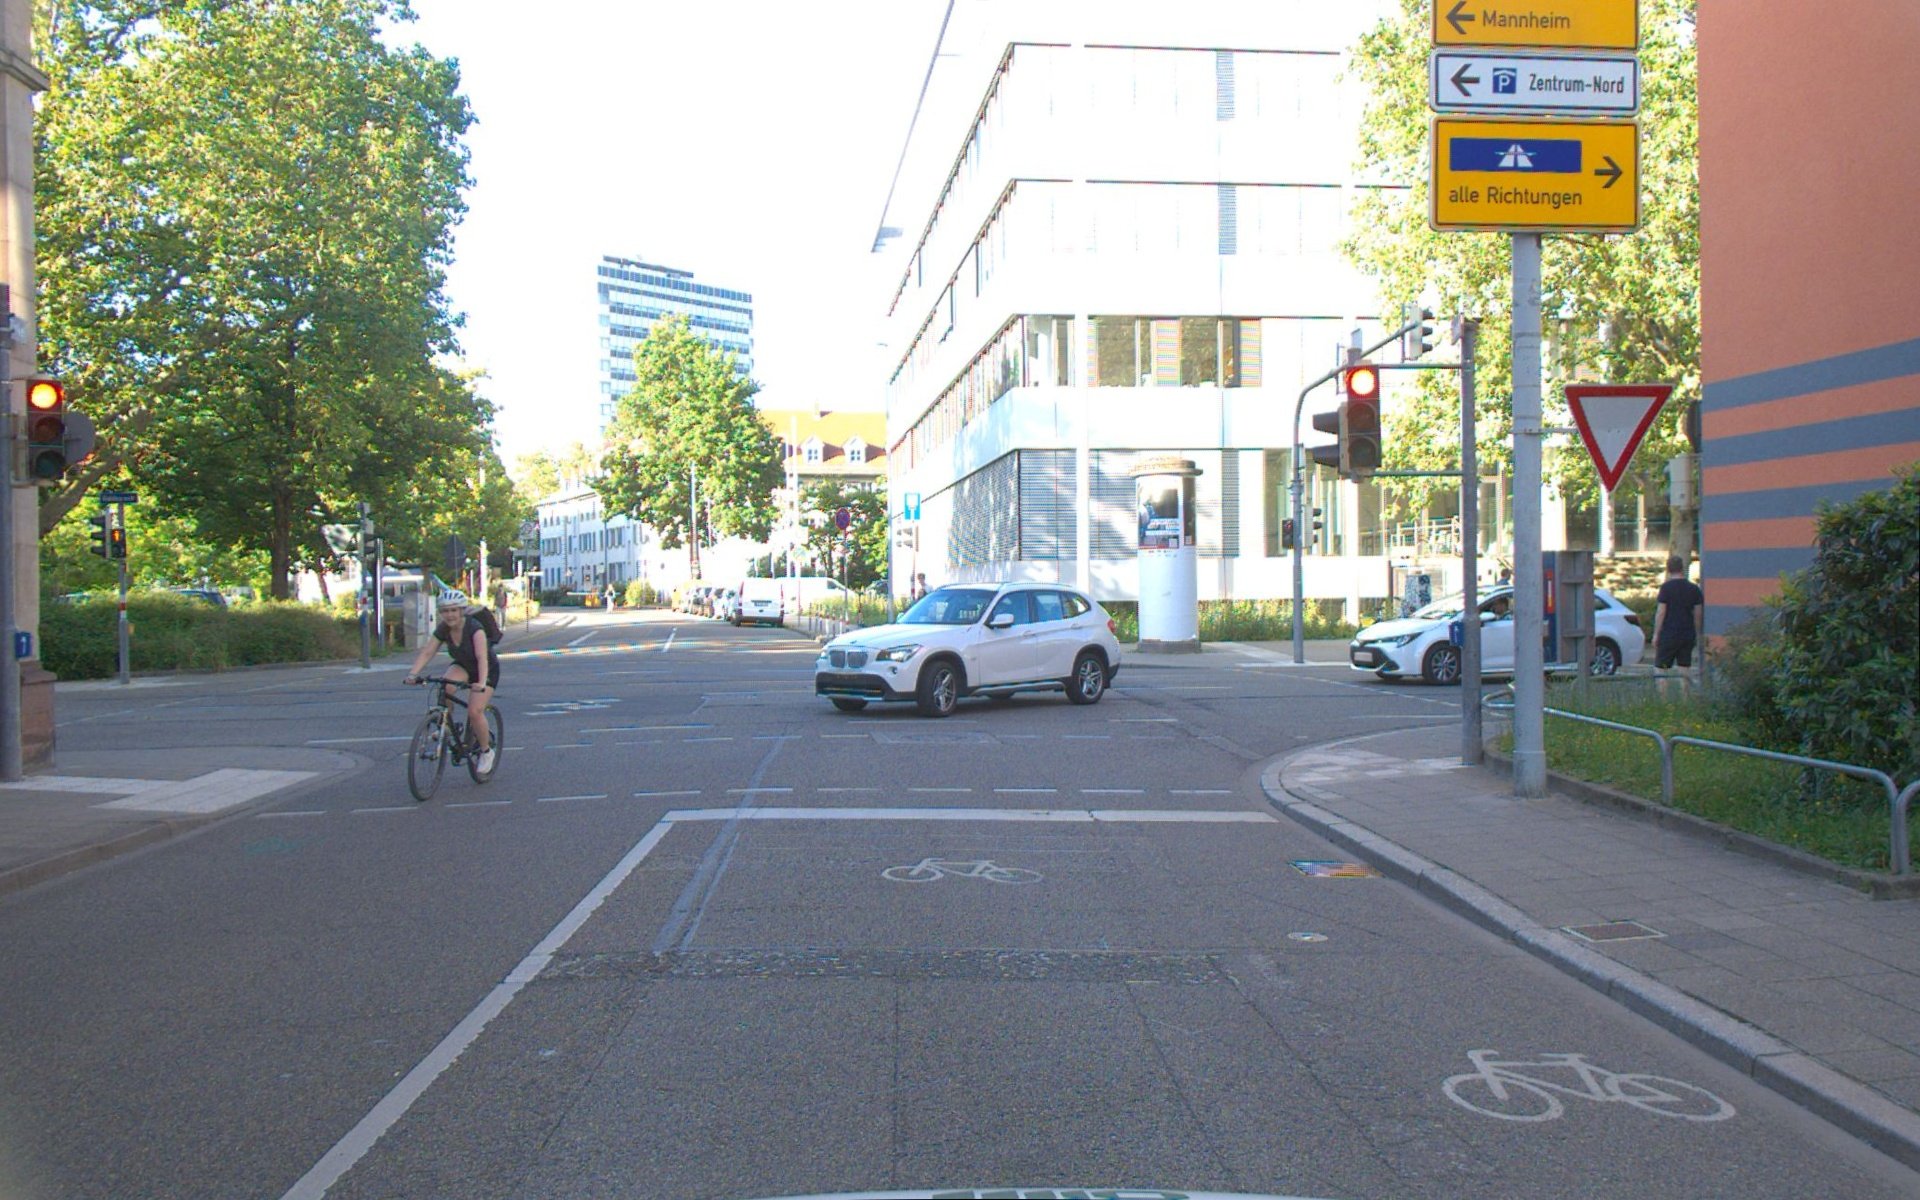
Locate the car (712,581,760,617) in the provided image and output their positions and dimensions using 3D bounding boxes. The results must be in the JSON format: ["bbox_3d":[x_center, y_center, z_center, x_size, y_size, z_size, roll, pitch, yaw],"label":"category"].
[{"bbox_3d":[-10.610,-0.079,78.153,1.856,1.582,4.400,0,1,-14],"label":"car"}]

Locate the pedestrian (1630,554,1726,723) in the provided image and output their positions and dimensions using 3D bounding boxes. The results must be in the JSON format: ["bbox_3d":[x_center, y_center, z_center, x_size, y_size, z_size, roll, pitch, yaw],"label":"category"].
[{"bbox_3d":[8.165,0.427,18.826,0.692,1.872,0.837,1,0,-1],"label":"pedestrian"}]

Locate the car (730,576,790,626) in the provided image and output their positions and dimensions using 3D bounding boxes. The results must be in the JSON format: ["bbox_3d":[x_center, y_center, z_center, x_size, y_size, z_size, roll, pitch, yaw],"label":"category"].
[{"bbox_3d":[-7.830,0.010,64.507,2.047,1.827,4.404,0,1,-10],"label":"car"}]

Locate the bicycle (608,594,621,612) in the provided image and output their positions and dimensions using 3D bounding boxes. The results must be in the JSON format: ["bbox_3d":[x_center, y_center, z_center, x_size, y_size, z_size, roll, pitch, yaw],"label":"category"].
[{"bbox_3d":[-19.422,0.179,93.031,0.604,0.986,1.837,-1,1,-9],"label":"bicycle"}]

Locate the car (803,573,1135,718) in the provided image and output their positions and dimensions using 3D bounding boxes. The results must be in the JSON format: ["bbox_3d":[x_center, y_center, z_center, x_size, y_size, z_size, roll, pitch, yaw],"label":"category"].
[{"bbox_3d":[0.200,0.486,20.608,1.663,1.610,4.244,0,1,45],"label":"car"}]

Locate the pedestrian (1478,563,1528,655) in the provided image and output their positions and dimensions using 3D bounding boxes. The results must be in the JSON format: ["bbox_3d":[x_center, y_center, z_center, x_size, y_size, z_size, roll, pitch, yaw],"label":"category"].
[{"bbox_3d":[11.191,0.177,34.077,0.819,1.872,0.708,1,0,29],"label":"pedestrian"}]

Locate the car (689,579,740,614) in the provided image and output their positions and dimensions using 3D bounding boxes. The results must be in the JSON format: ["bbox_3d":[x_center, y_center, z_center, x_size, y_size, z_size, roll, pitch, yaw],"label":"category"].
[{"bbox_3d":[-12.674,-0.201,85.371,1.860,1.684,4.391,0,1,-19],"label":"car"}]

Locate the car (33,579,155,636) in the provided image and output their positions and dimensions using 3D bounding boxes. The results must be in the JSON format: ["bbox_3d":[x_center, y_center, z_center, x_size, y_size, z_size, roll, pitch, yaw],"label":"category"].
[{"bbox_3d":[-39.977,0.337,76.444,4.472,2.433,2.069,-2,0,-10],"label":"car"}]

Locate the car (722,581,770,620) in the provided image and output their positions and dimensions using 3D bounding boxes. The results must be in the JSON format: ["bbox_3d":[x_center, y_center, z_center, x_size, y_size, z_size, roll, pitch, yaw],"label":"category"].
[{"bbox_3d":[-9.443,-0.006,72.800,1.854,1.582,4.404,0,1,-10],"label":"car"}]

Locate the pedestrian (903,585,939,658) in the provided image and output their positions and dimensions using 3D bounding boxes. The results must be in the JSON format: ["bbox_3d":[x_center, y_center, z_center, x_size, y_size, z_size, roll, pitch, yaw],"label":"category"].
[{"bbox_3d":[-0.873,0.470,36.858,0.551,1.567,0.673,-4,1,-19],"label":"pedestrian"}]

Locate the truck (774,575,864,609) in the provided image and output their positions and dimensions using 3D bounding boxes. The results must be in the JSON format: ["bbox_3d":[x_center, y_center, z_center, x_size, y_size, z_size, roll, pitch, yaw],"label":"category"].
[{"bbox_3d":[-8.777,-0.530,102.926,5.258,2.049,1.989,-1,0,-20],"label":"truck"}]

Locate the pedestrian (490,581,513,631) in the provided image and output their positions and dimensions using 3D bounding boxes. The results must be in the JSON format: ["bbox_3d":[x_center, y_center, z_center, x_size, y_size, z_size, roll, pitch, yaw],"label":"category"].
[{"bbox_3d":[-16.621,0.221,59.934,0.693,1.753,0.949,-2,0,-21],"label":"pedestrian"}]

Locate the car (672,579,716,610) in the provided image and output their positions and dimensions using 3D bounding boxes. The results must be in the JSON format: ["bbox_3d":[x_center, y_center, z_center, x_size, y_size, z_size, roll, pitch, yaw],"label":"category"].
[{"bbox_3d":[-15.347,-0.311,95.267,1.860,1.684,4.391,0,1,-19],"label":"car"}]

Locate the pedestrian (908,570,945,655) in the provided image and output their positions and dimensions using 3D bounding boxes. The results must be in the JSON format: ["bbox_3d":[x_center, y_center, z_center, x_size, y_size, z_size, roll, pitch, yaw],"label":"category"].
[{"bbox_3d":[-0.763,0.277,37.791,0.547,1.882,0.678,-3,1,15],"label":"pedestrian"}]

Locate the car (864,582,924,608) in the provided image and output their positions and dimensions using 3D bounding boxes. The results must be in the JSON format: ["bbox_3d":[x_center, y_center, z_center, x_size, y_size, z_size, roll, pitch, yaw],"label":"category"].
[{"bbox_3d":[-4.163,-0.311,104.181,3.502,1.573,1.549,-1,0,-20],"label":"car"}]

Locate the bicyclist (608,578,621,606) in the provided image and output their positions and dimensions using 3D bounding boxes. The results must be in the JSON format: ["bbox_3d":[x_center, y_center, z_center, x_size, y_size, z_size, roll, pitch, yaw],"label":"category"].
[{"bbox_3d":[-19.434,-0.477,93.042,0.604,1.559,0.901,-1,0,-10],"label":"bicyclist"}]

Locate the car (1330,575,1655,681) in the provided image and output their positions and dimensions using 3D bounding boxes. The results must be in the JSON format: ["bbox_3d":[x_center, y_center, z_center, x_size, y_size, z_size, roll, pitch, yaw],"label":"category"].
[{"bbox_3d":[8.182,0.397,25.538,4.450,1.501,1.887,-1,1,-12],"label":"car"}]

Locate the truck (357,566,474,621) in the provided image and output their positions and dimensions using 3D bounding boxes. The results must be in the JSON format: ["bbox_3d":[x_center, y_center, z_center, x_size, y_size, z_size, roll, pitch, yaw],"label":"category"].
[{"bbox_3d":[-24.565,-0.314,74.760,4.741,2.441,2.082,0,1,-11],"label":"truck"}]

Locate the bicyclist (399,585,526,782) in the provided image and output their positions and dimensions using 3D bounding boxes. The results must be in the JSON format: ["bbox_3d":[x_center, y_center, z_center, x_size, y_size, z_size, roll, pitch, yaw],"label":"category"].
[{"bbox_3d":[-3.992,0.647,13.324,0.671,1.501,0.871,-3,0,1],"label":"bicyclist"}]

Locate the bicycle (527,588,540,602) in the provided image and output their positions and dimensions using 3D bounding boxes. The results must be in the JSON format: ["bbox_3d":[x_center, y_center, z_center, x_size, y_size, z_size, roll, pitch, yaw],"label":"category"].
[{"bbox_3d":[-33.447,-0.372,129.682,0.850,1.027,2.407,-3,0,-11],"label":"bicycle"}]

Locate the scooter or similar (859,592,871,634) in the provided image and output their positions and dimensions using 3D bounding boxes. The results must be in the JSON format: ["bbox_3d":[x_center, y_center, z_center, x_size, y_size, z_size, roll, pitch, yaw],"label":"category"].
[{"bbox_3d":[-3.367,0.457,58.513,0.324,1.449,1.333,1,0,-6],"label":"scooter or similar"}]

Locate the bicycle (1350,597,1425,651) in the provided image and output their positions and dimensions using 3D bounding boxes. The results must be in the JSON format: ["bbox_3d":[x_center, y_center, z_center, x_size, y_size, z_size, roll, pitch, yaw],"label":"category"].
[{"bbox_3d":[9.345,0.514,36.172,0.503,1.067,1.667,-3,4,-35],"label":"bicycle"}]

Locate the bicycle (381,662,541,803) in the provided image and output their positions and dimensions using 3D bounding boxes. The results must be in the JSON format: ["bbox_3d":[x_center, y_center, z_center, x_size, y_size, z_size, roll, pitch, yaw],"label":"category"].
[{"bbox_3d":[-3.982,1.031,13.336,0.671,0.940,1.767,-3,0,1],"label":"bicycle"}]
